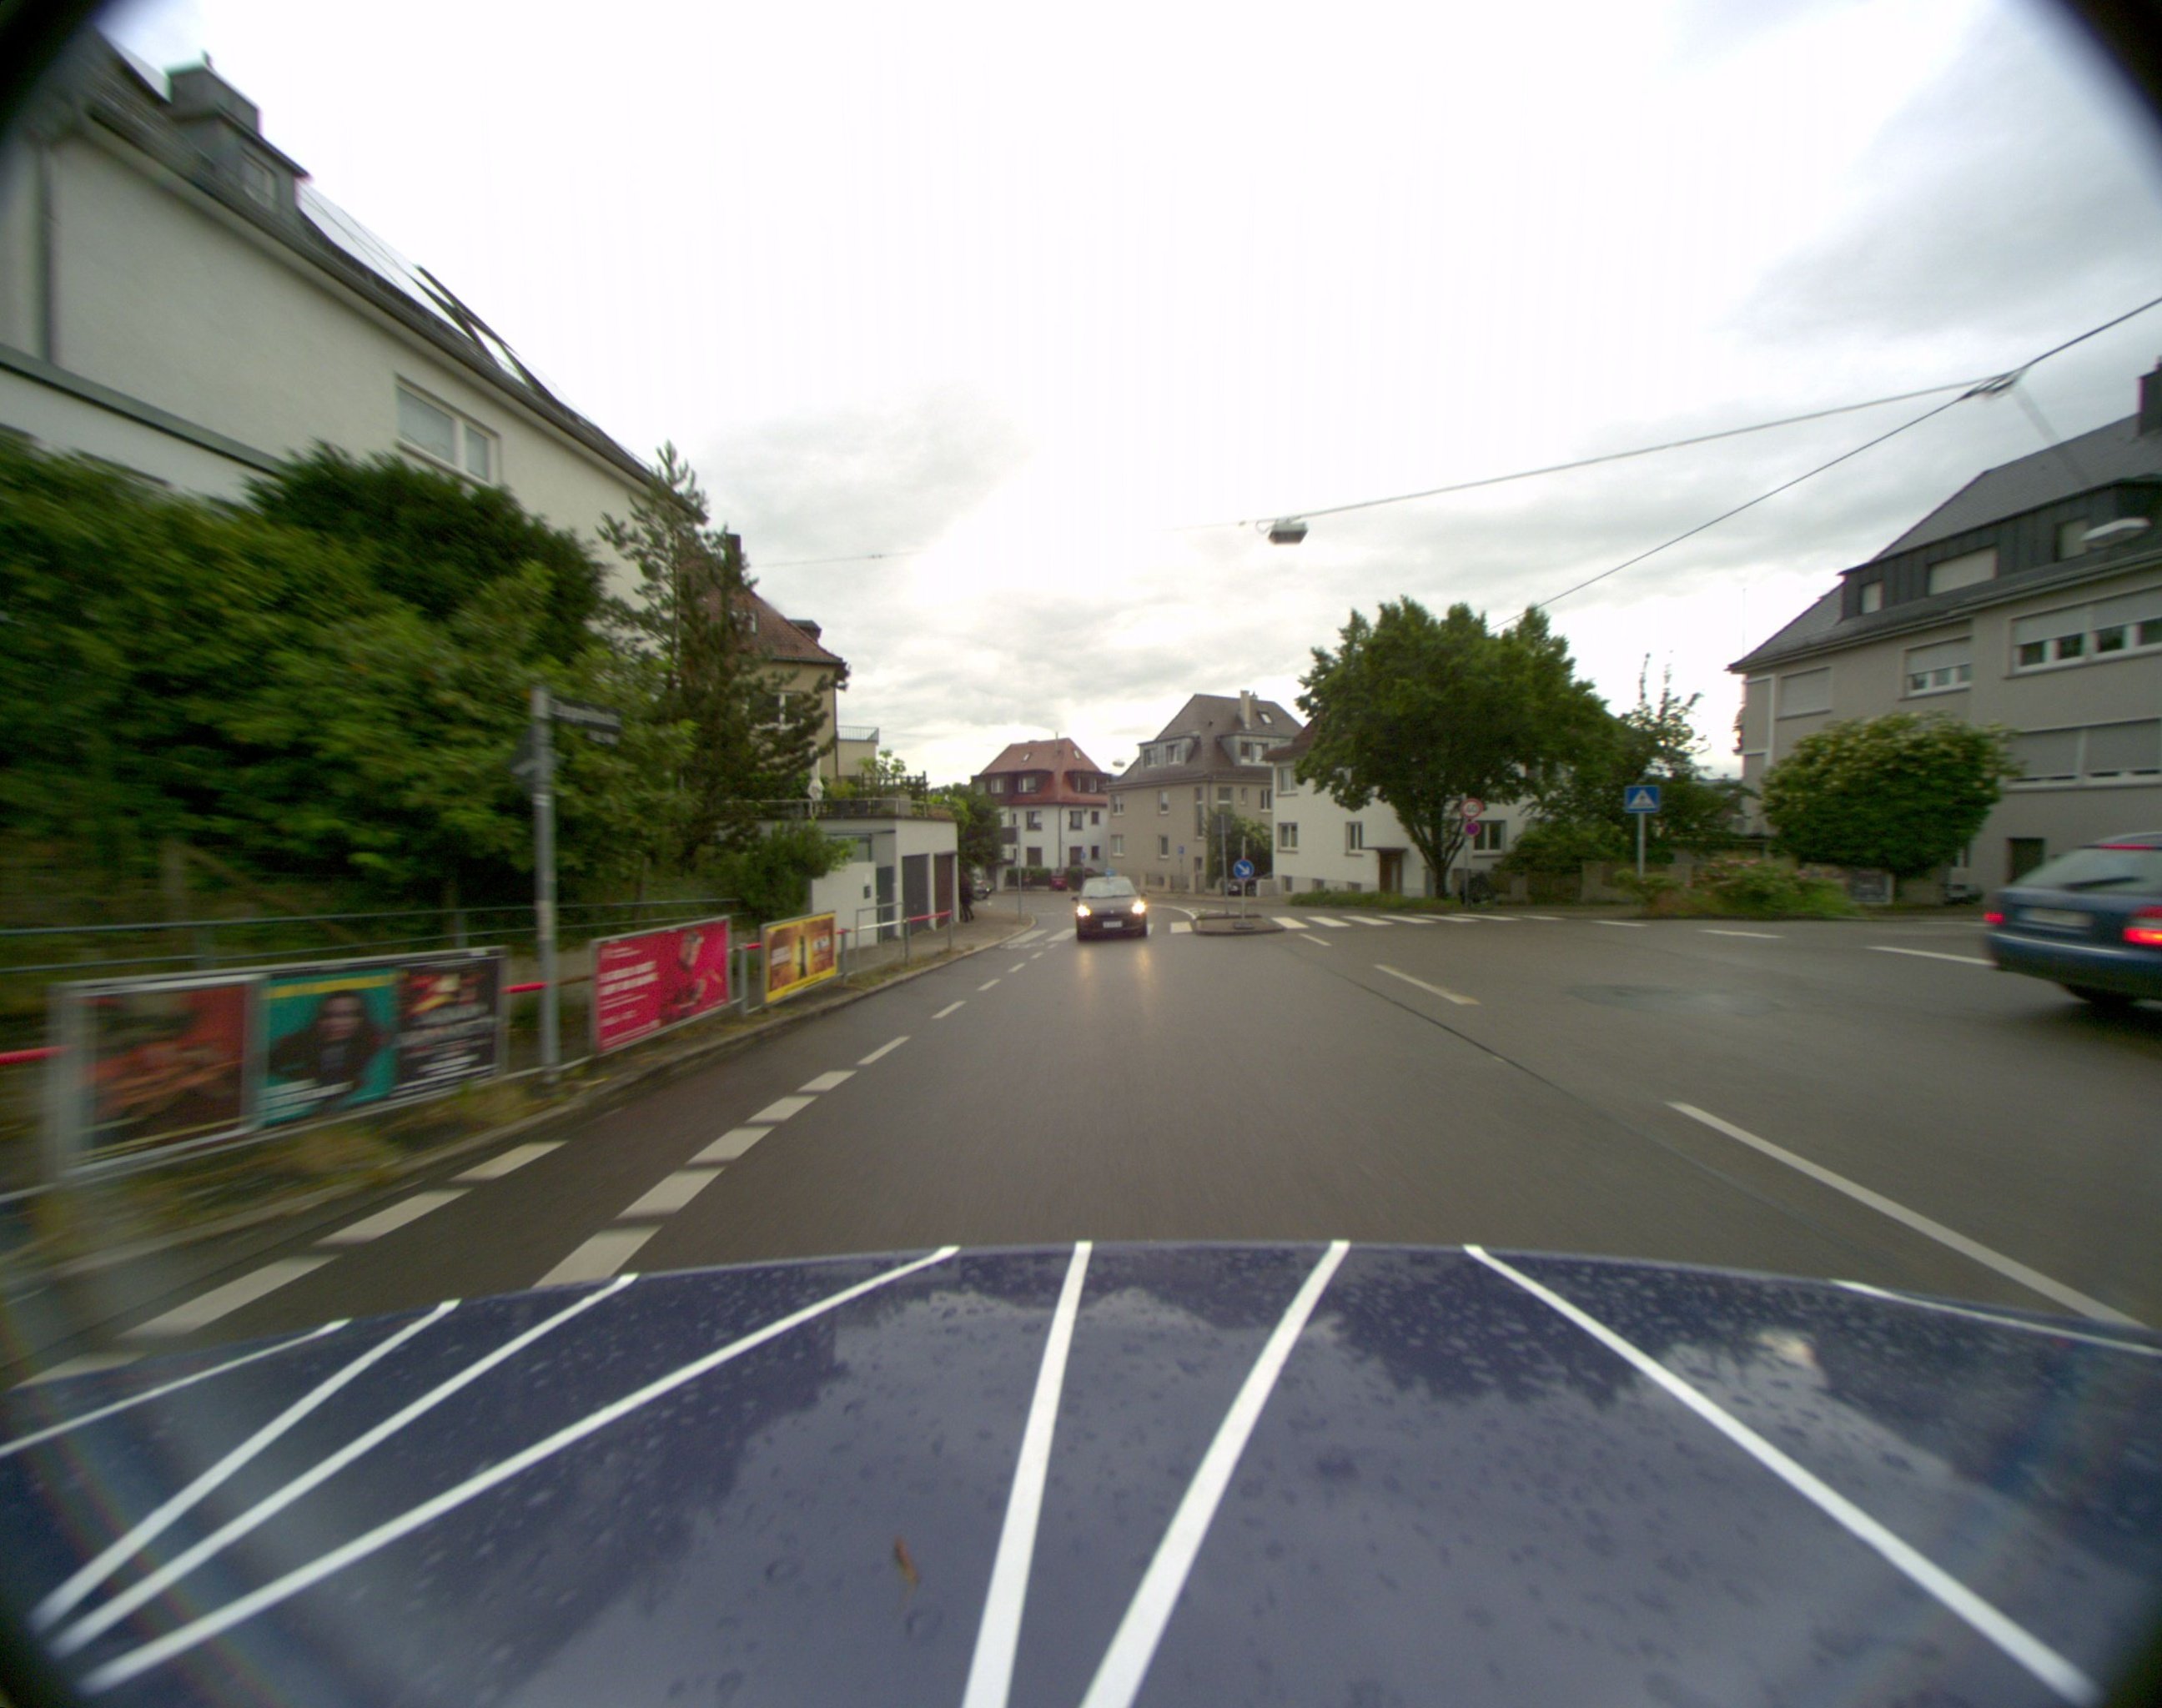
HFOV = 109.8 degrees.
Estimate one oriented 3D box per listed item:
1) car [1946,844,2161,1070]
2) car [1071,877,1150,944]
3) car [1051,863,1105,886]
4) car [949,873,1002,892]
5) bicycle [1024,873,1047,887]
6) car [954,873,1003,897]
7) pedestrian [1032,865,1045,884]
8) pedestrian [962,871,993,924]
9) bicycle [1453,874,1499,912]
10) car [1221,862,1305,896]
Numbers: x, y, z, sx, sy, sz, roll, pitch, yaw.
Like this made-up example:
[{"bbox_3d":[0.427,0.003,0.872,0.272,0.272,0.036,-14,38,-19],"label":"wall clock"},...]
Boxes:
[{"bbox_3d":[9.356,0.648,5.270,4.073,1.431,1.819,-1,2,17],"label":"car"},{"bbox_3d":[0.755,1.331,18.896,1.680,1.404,3.639,-4,-2,3],"label":"car"},{"bbox_3d":[-0.222,1.648,60.804,1.995,1.811,4.009,-3,-3,45],"label":"car"},{"bbox_3d":[-8.651,2.322,62.305,4.218,1.417,1.845,-3,0,38],"label":"car"},{"bbox_3d":[-3.706,2.158,62.173,1.916,1.061,0.458,-3,2,35],"label":"bicycle"},{"bbox_3d":[-7.037,2.093,51.963,1.965,1.477,4.196,-2,-1,-27],"label":"car"},{"bbox_3d":[-3.551,1.692,62.887,0.493,1.568,0.949,-3,2,33],"label":"pedestrian"},{"bbox_3d":[-3.451,1.427,25.329,0.805,1.712,1.061,0,0,5],"label":"pedestrian"},{"bbox_3d":[11.794,1.161,22.756,0.421,1.078,1.965,-3,-2,4],"label":"bicycle"},{"bbox_3d":[10.459,1.397,43.663,4.257,1.614,1.997,-3,1,-19],"label":"car"}]
